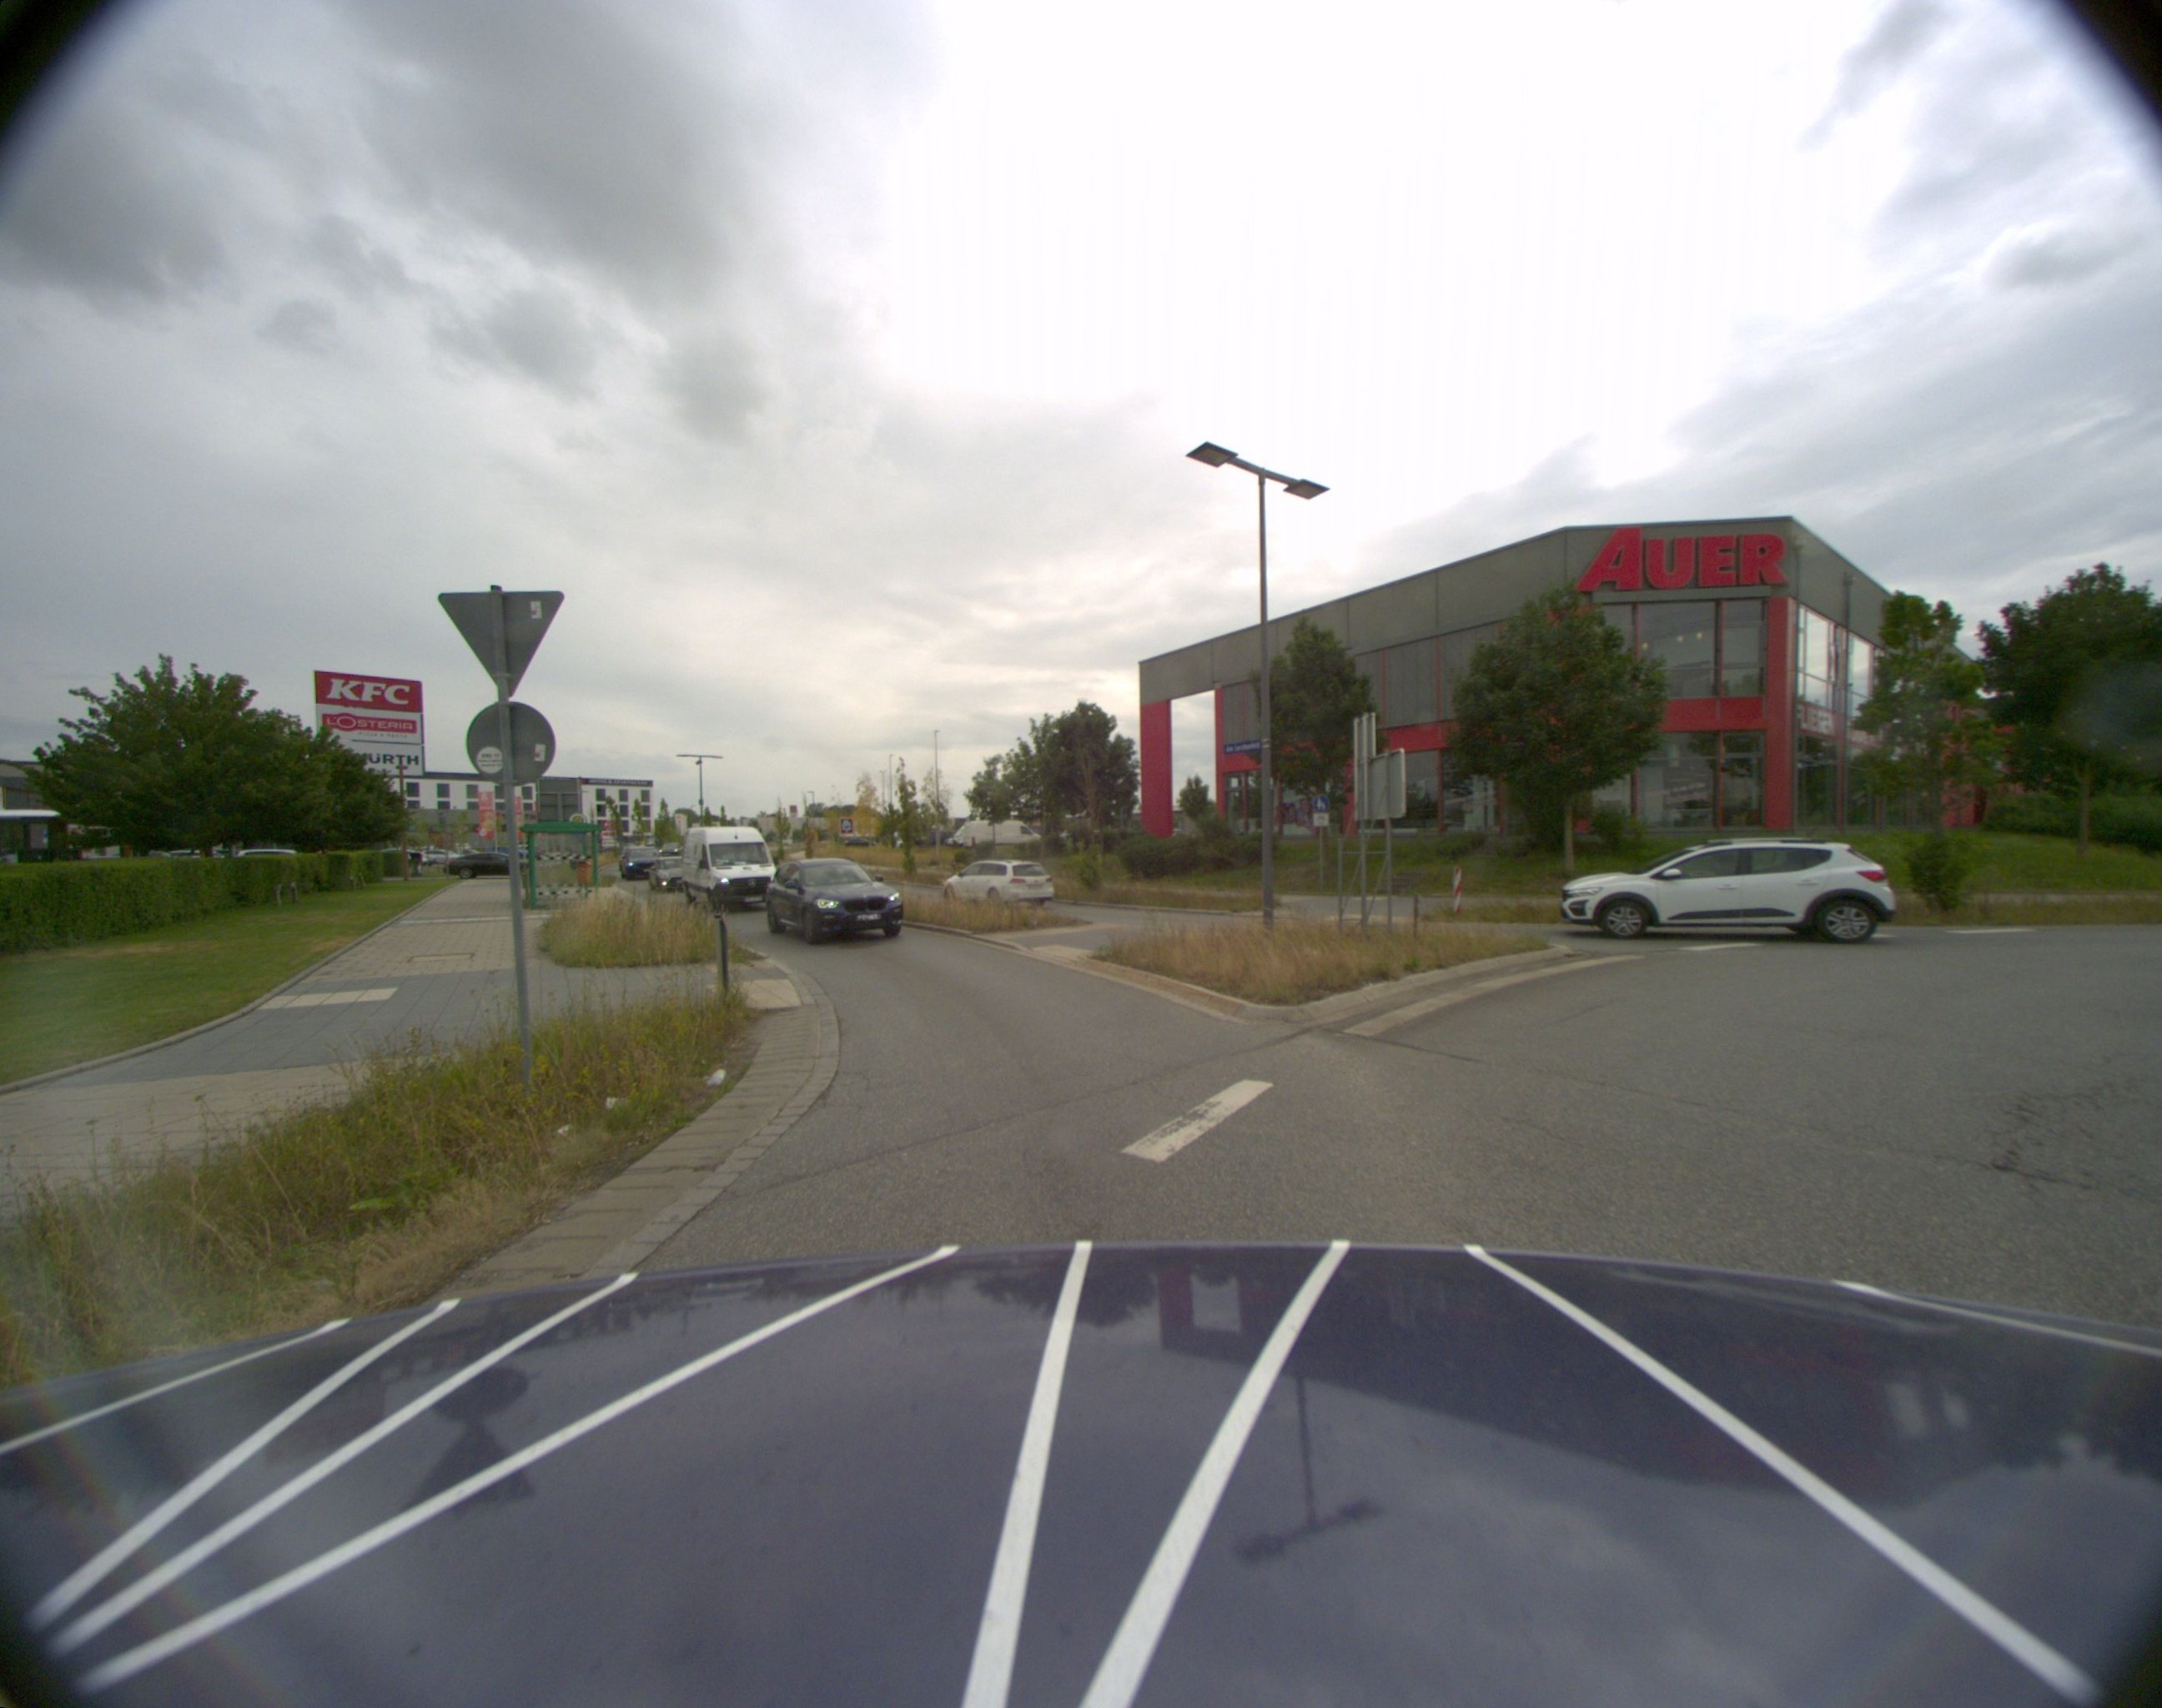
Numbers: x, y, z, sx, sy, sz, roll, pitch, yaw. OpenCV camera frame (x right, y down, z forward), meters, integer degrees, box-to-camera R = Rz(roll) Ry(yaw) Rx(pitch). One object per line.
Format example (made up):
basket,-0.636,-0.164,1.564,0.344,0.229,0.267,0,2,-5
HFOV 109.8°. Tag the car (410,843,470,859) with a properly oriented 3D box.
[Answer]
car,-61.595,-0.314,73.137,4.004,1.478,1.843,-1,2,-23

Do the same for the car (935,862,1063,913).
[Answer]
car,-2.701,0.990,24.118,1.731,1.400,4.630,-1,1,-40

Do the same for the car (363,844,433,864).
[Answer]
car,-57.453,-0.009,64.041,4.005,1.514,1.843,-2,2,-28

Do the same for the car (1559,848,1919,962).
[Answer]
car,10.154,0.712,12.202,4.075,1.549,1.736,0,1,28

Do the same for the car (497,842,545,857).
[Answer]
car,-64.466,-0.584,87.523,4.003,1.478,1.843,-3,4,-19

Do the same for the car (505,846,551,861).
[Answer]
car,-65.210,-0.065,89.650,4.003,1.478,1.843,-3,4,-19

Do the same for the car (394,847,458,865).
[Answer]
car,-59.132,0.194,68.679,4.005,1.478,1.842,-2,2,-28

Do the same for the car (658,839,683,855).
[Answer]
car,-43.839,-0.757,81.166,2.002,1.566,3.990,-3,4,-25

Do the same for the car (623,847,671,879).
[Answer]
car,-23.813,0.465,41.613,1.872,1.599,3.989,-2,2,-35

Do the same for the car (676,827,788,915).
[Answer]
car,-11.512,0.409,24.781,2.031,2.513,6.087,-2,2,-37

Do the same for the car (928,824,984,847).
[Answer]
car,-12.345,-1.824,75.273,5.064,2.211,2.059,-2,2,-29

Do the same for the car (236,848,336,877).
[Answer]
car,-49.285,0.498,47.206,4.007,1.478,1.841,-4,4,-40

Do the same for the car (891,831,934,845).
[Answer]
car,-21.385,-2.079,96.446,5.064,1.647,2.060,-2,2,-26

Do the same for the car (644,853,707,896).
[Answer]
car,-17.273,0.810,32.260,1.872,1.599,3.989,-2,2,-35

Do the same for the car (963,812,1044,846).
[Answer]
car,-6.494,-2.178,63.948,6.429,2.610,2.059,-4,4,-32

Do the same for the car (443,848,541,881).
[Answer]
car,-32.375,0.553,41.933,4.006,1.478,1.842,-4,4,-32

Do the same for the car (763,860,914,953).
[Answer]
car,-5.334,0.999,16.391,1.872,1.599,3.988,-2,2,-37

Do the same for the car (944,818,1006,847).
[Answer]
car,-9.471,-1.987,68.041,5.065,2.360,2.058,-4,4,-35
